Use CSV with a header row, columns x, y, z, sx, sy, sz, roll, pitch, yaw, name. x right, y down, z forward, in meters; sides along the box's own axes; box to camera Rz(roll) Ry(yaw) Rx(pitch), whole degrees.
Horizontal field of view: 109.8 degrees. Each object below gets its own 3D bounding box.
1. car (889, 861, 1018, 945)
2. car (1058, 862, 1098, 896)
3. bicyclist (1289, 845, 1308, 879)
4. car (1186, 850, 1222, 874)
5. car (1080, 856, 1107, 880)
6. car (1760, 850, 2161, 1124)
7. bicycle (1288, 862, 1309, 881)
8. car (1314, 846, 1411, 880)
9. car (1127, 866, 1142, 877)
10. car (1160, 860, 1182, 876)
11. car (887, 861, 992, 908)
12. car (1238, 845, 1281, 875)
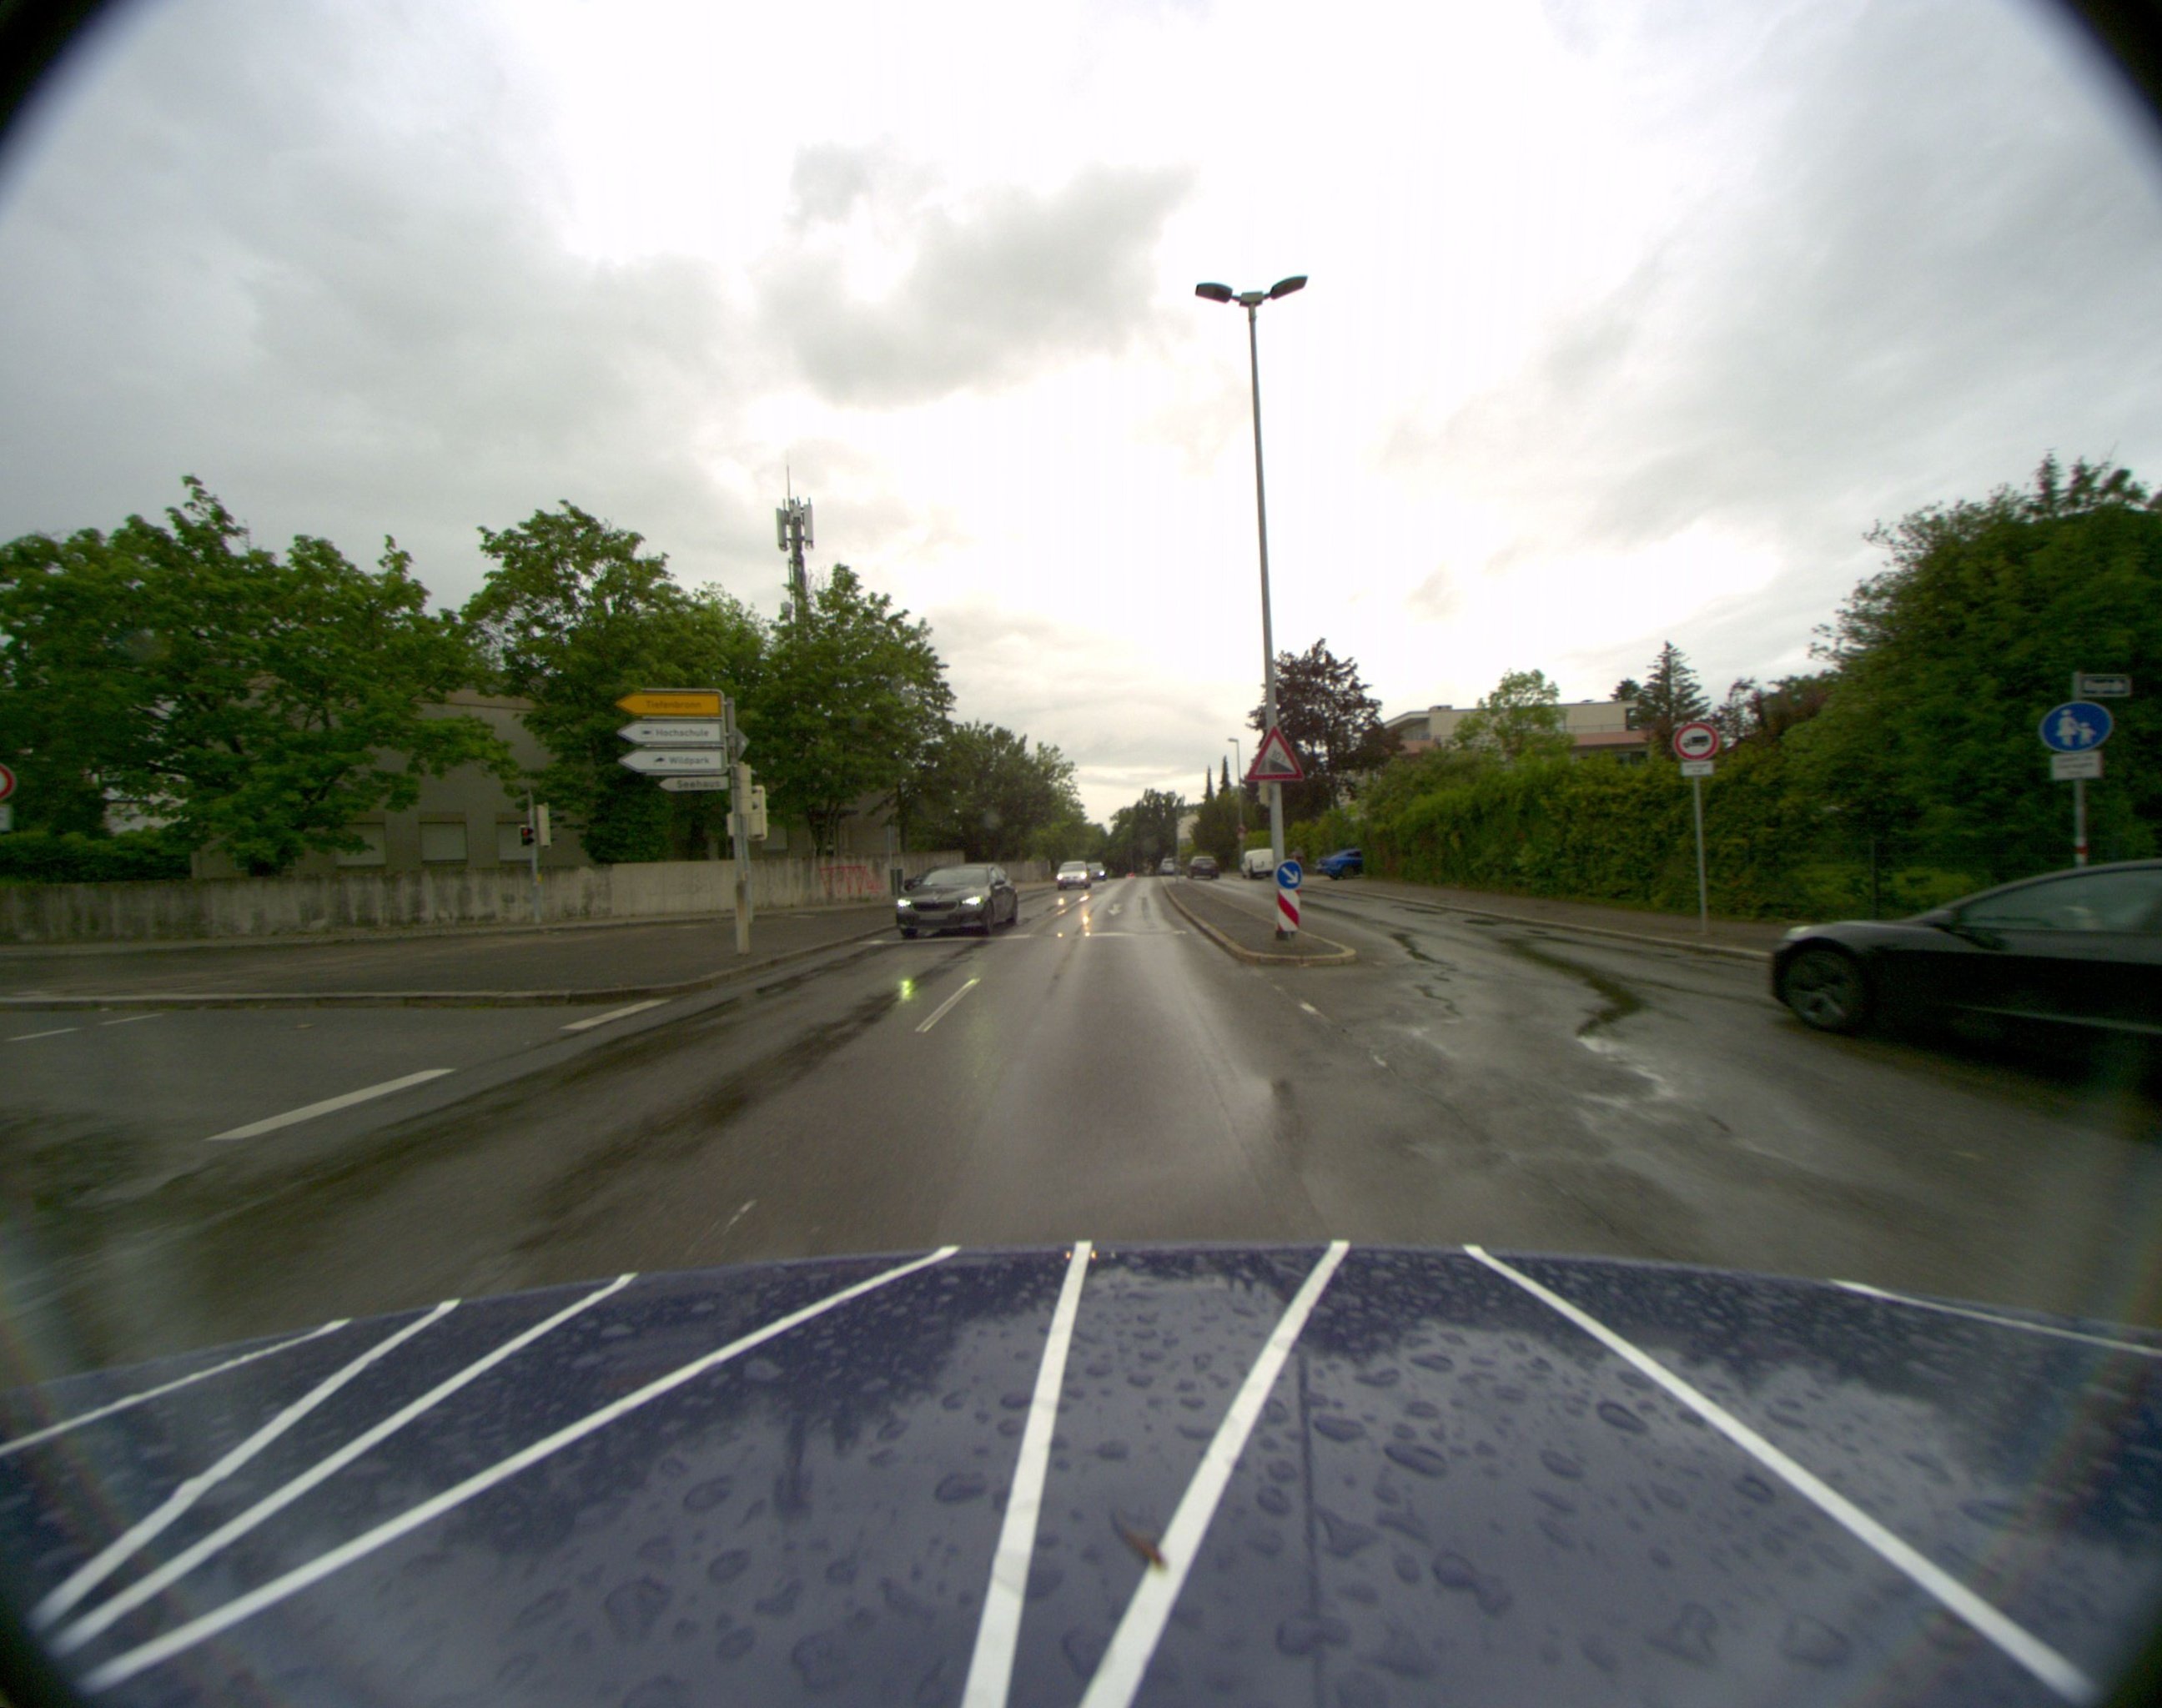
x,y,z,sx,sy,sz,roll,pitch,yaw,name
-2.697,0.987,17.001,1.872,1.510,4.001,-3,1,4,car
-0.118,1.355,42.778,1.998,1.647,4.000,-2,1,2,car
10.640,0.388,37.171,0.743,1.637,0.778,-2,1,10,bicyclist
8.093,0.479,50.218,1.820,1.447,4.000,-2,1,2,car
1.000,1.039,58.501,1.998,1.647,4.226,-2,1,2,car
6.795,0.724,4.263,1.870,1.468,4.445,0,0,-3,car
10.674,0.832,37.285,0.743,0.846,1.973,-2,0,10,bicycle
13.284,0.399,36.021,3.888,1.447,1.768,-2,1,0,car
8.272,2.631,116.946,1.821,1.447,3.998,-2,1,-3,car
8.782,1.365,74.502,1.820,1.447,4.000,-2,1,2,car
-5.451,1.151,29.691,1.690,1.543,4.007,-1,1,32,car
10.980,0.321,47.003,1.820,1.707,4.000,-2,1,2,car
